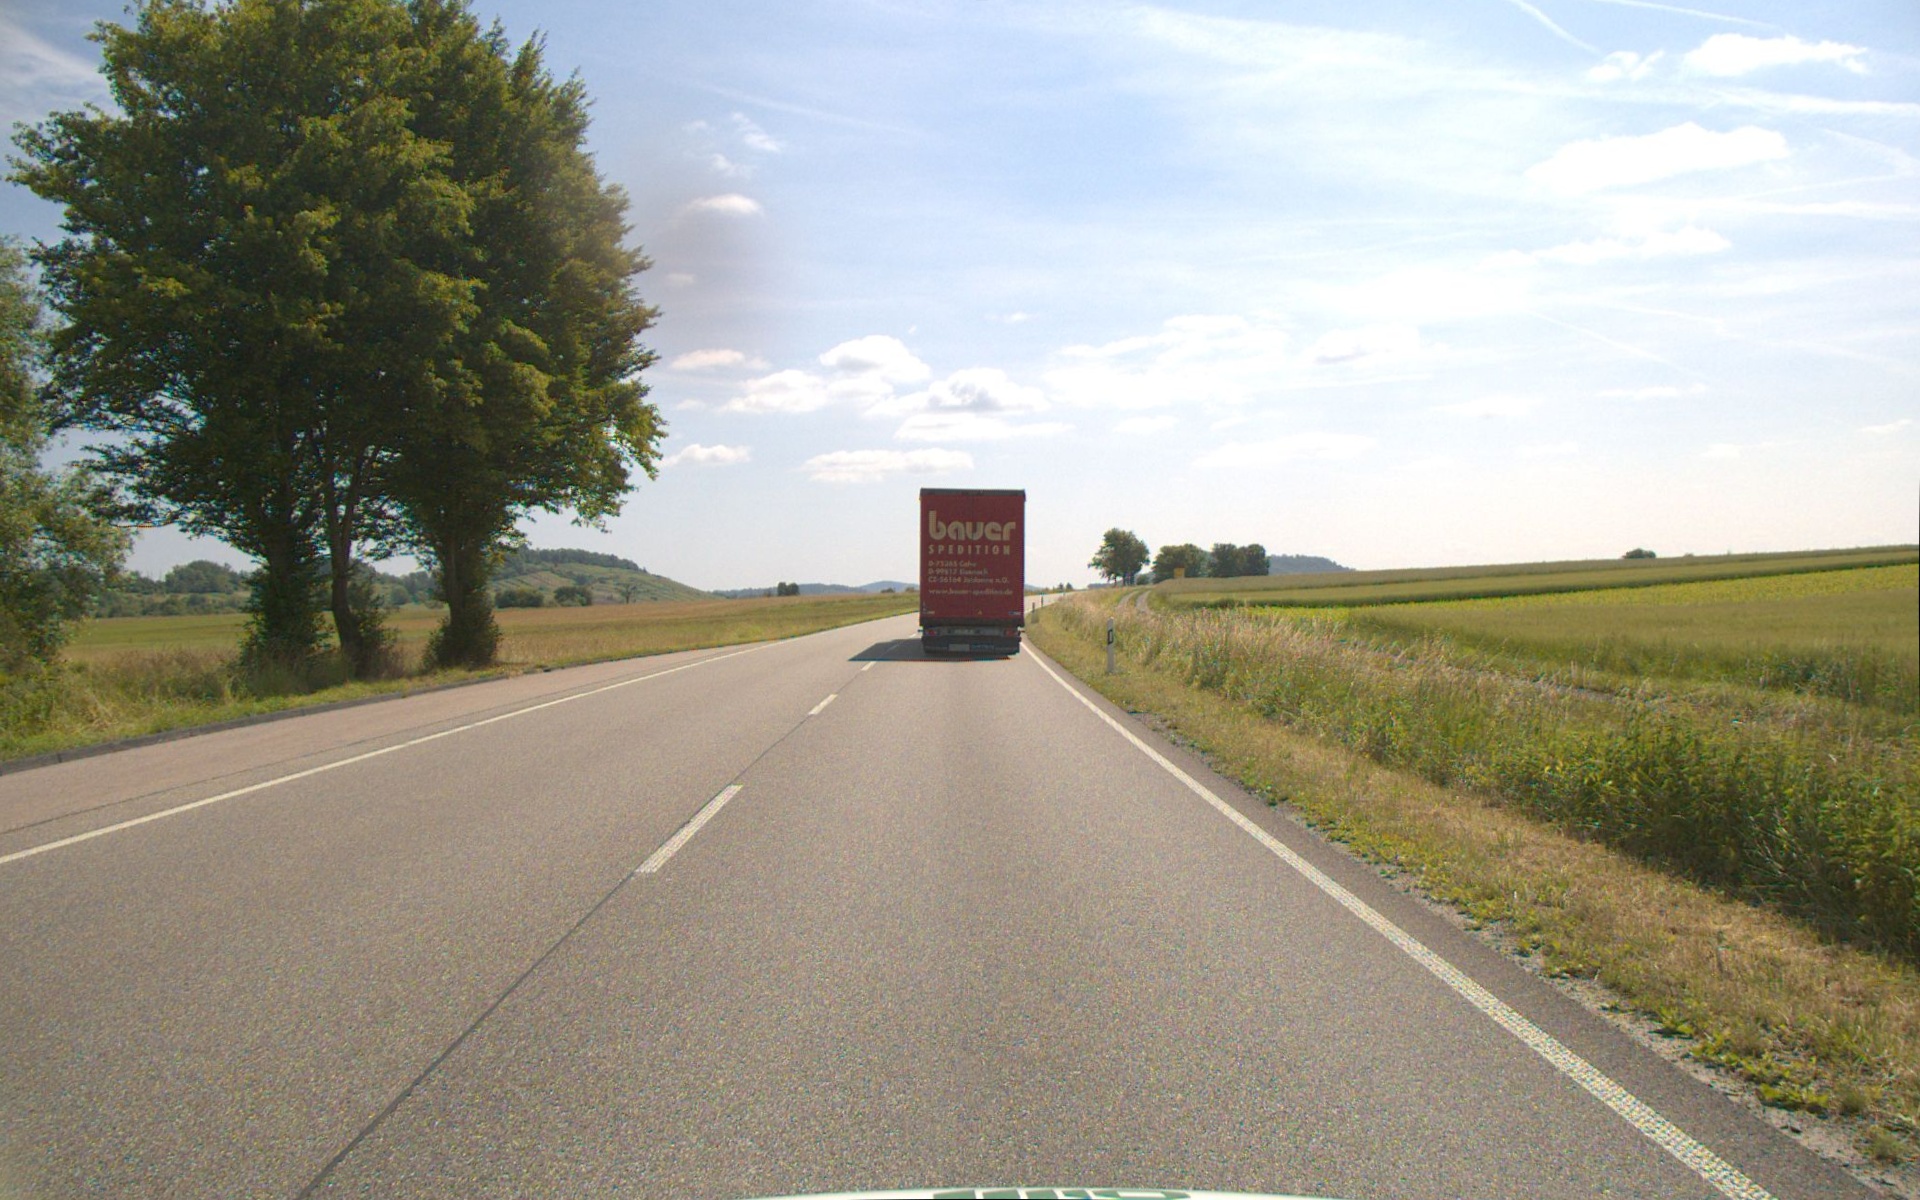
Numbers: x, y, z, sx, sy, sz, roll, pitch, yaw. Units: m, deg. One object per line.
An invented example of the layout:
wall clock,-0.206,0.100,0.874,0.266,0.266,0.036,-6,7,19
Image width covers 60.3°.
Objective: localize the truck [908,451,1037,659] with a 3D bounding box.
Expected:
truck,0.174,-1.049,43.556,2.915,4.795,9.363,2,0,-2
